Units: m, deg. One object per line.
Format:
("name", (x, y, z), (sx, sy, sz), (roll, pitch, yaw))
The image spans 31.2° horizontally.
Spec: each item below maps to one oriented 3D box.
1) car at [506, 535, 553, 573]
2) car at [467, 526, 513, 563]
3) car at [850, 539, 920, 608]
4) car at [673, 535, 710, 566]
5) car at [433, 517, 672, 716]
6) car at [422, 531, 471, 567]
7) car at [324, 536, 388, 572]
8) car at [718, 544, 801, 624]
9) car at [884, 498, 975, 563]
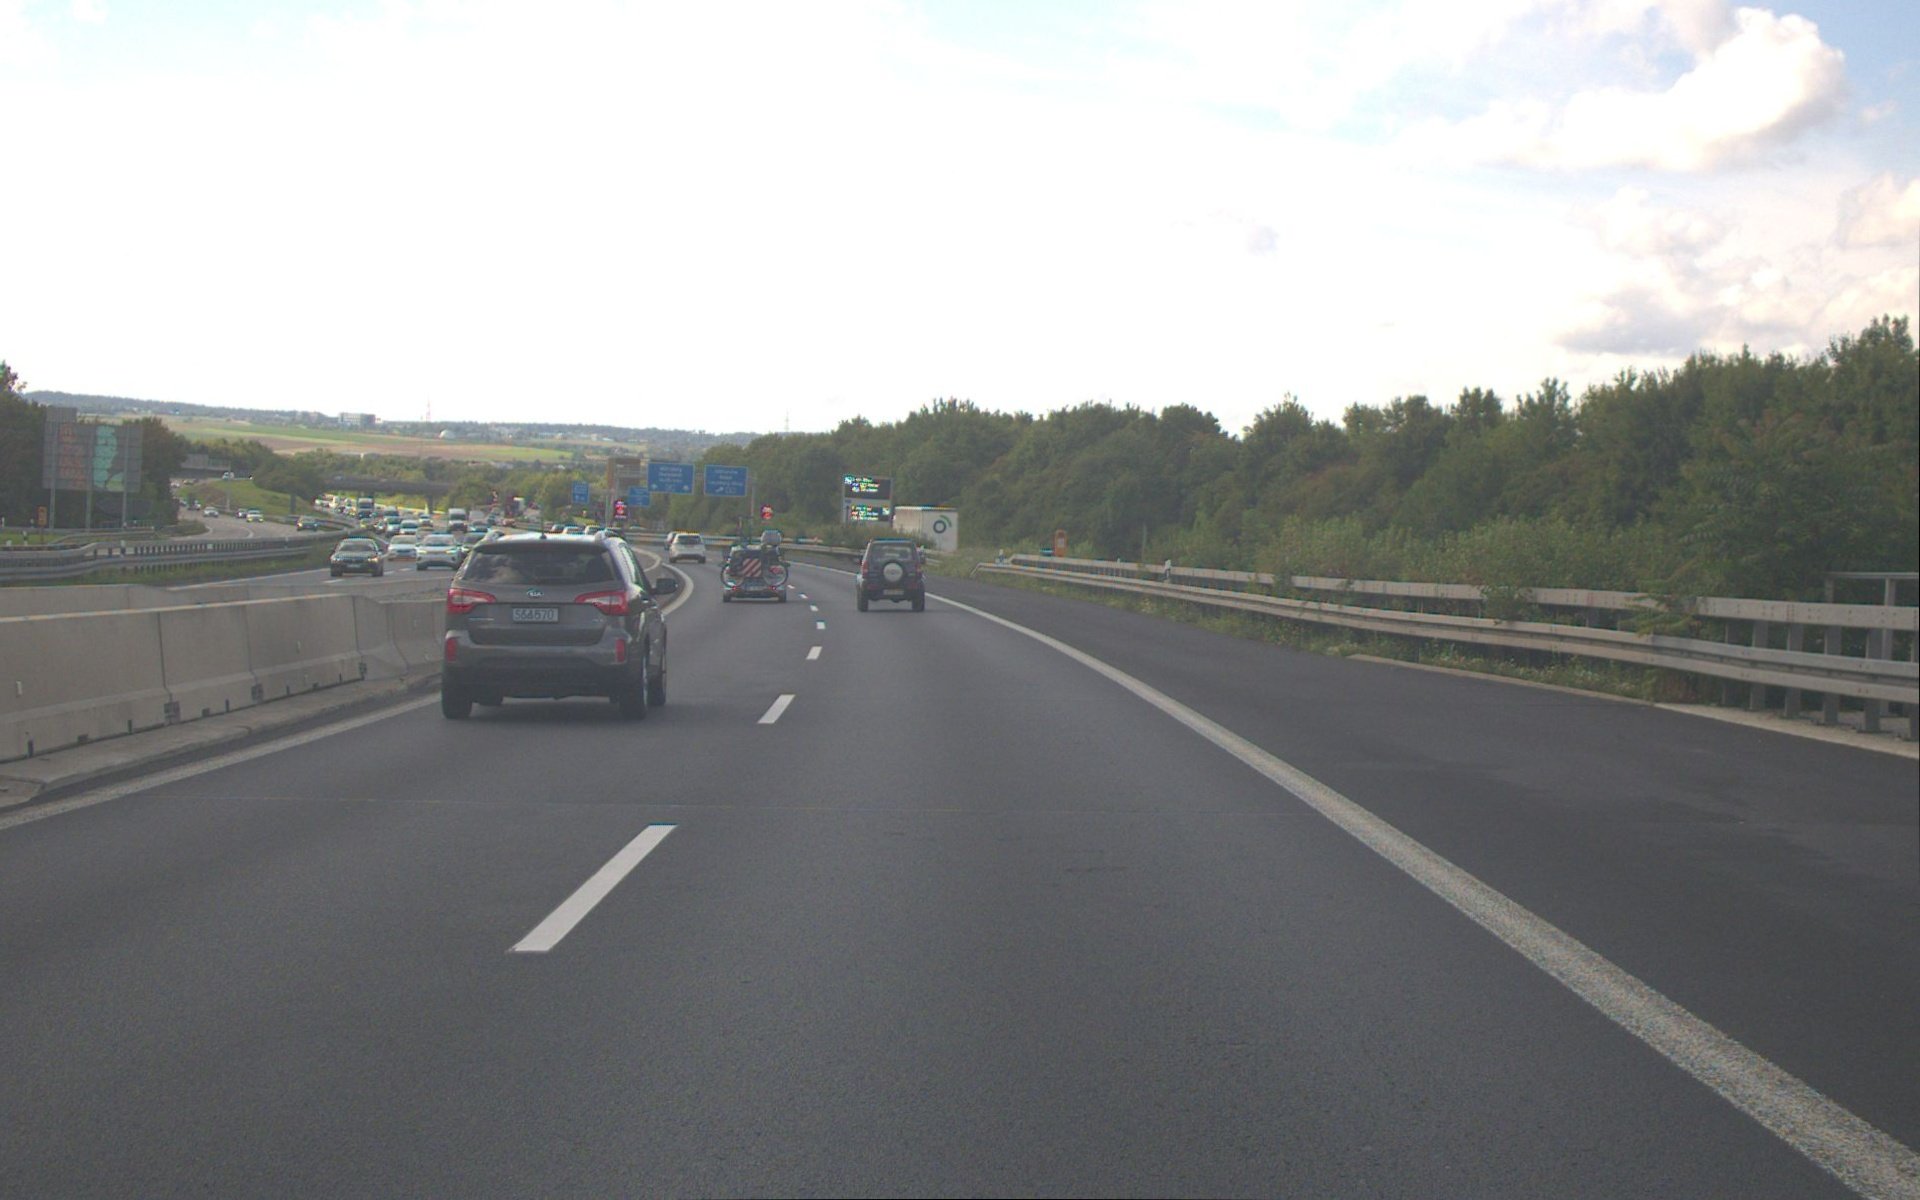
("car", (-19.592, -2.120, 156.713), (1.885, 1.697, 4.967), (1, 1, -5))
("car", (-23.169, -2.730, 169.527), (1.886, 1.779, 4.954), (1, 1, -4))
("car", (-1.860, -0.673, 84.460), (1.587, 1.591, 4.096), (1, 1, -3))
("car", (-15.428, -2.826, 197.219), (1.993, 1.678, 4.001), (1, 0, -6))
("car", (-3.803, 0.122, 32.866), (1.817, 1.730, 5.187), (1, 0, -2))
("car", (-23.410, -2.347, 156.827), (1.885, 1.604, 4.967), (1, 1, -5))
("car", (-23.890, -1.833, 136.118), (1.993, 1.397, 4.814), (1, 1, -4))
("car", (-5.576, -0.471, 95.987), (2.030, 2.144, 4.000), (1, 1, 0))
("car", (-2.238, -4.860, 243.750), (4.727, 4.251, 11.406), (1, 0, -9))
